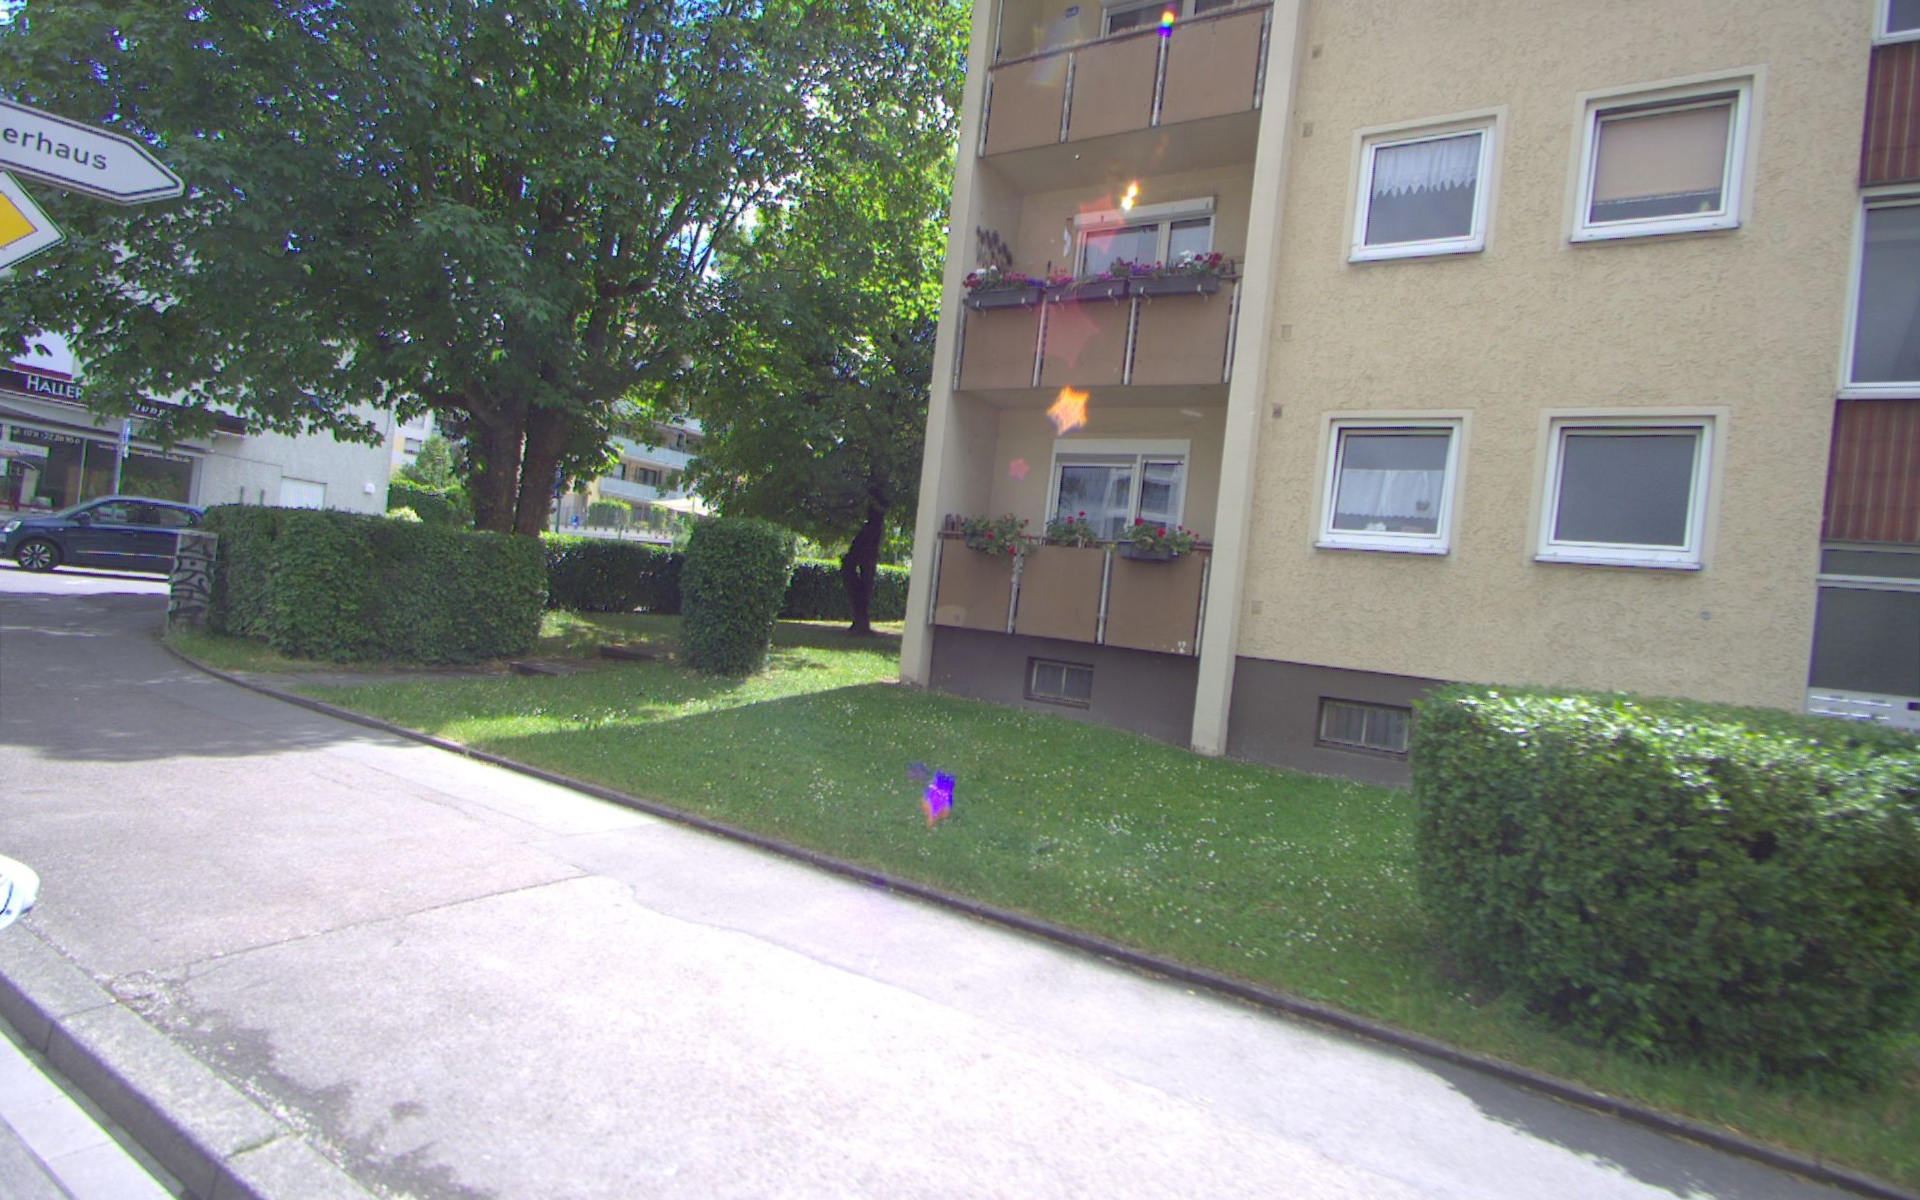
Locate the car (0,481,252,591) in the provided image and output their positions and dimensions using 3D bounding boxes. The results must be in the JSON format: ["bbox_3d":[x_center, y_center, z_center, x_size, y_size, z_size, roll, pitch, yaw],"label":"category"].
[{"bbox_3d":[-16.038,-1.199,19.349,3.683,1.542,1.976,7,1,-42],"label":"car"}]

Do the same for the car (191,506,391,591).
[{"bbox_3d":[-15.596,-1.154,23.628,1.679,1.542,3.465,8,1,24],"label":"car"}]
